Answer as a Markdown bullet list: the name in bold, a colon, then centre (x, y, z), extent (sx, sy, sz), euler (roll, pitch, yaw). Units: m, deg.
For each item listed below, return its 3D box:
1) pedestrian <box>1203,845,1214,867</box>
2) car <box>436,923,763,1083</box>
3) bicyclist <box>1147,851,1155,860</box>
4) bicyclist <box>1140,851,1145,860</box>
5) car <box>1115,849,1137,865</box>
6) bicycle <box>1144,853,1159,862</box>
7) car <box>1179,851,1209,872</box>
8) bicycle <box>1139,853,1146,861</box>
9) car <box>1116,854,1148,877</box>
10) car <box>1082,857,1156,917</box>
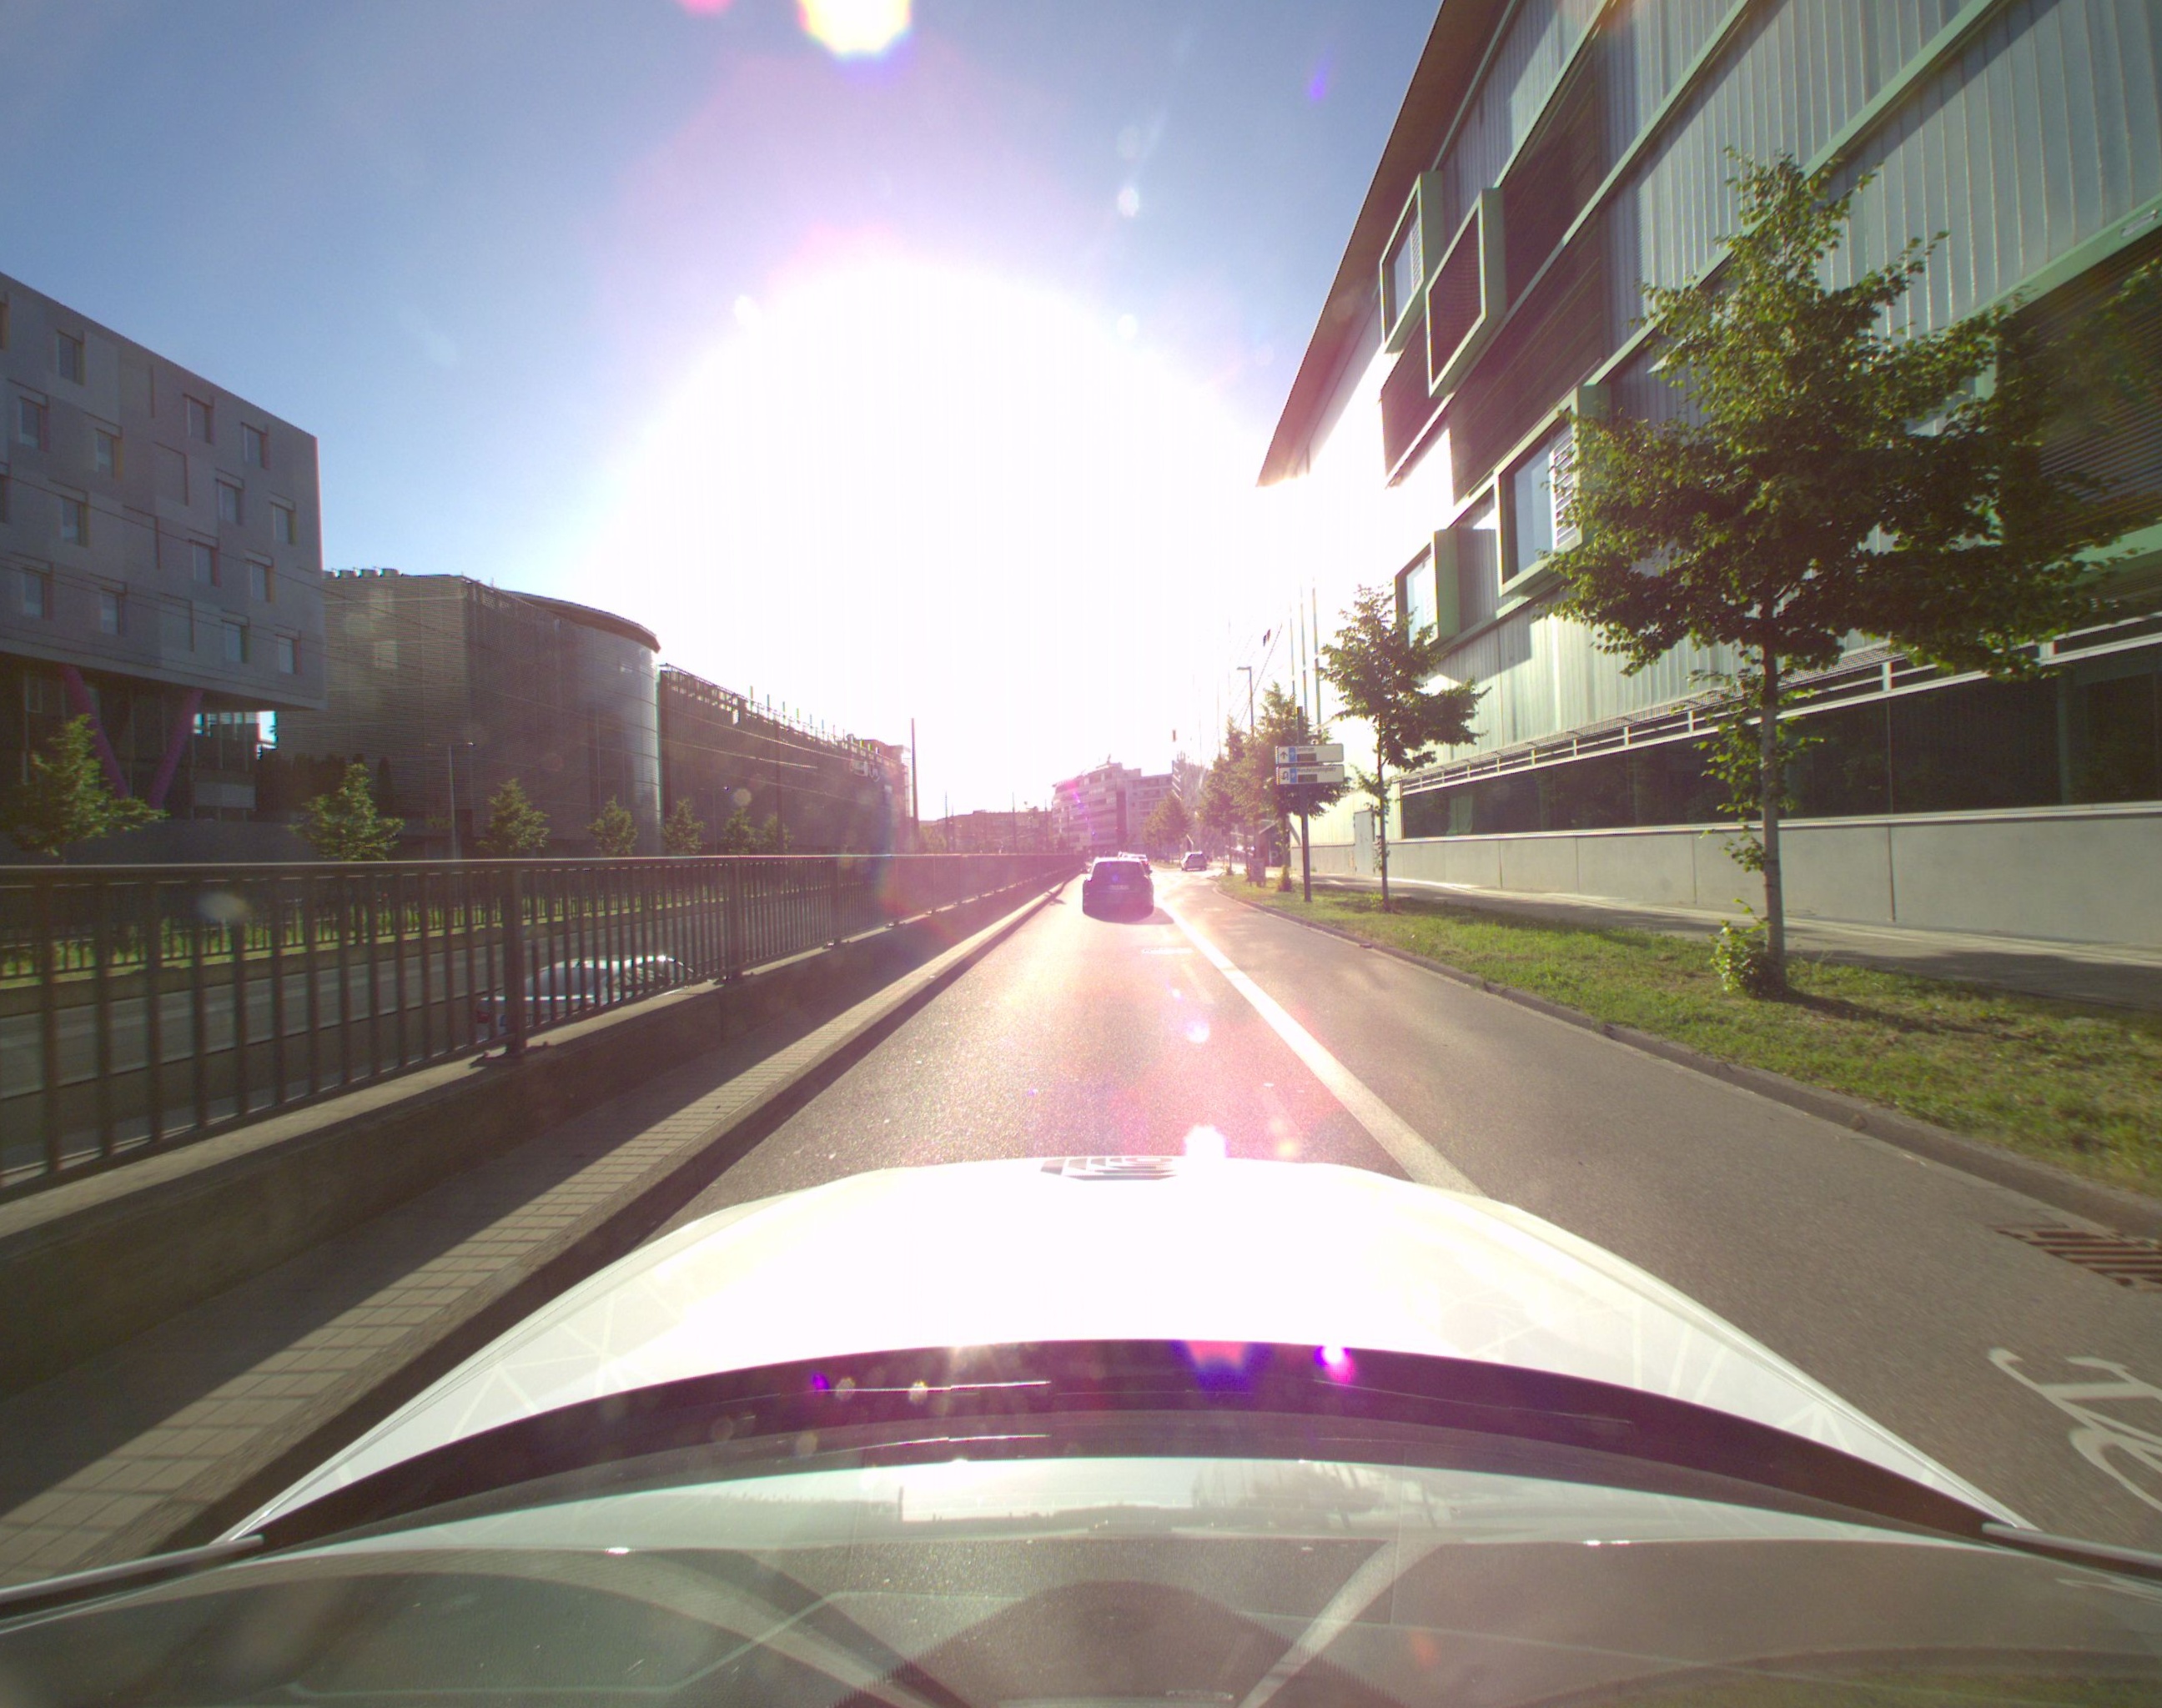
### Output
- **pedestrian**: centre (11.966, 0.174, 76.489), extent (0.833, 2.013, 0.690), euler (-3, 0, 2)
- **car**: centre (-6.885, 2.041, 12.459), extent (1.790, 1.527, 4.916), euler (0, 0, 4)
- **bicyclist**: centre (10.663, 0.283, 124.060), extent (1.023, 1.269, 0.731), euler (-4, 0, 24)
- **bicyclist**: centre (9.986, 0.213, 132.107), extent (0.723, 1.418, 0.890), euler (-3, 0, -5)
- **car**: centre (4.566, 0.286, 83.336), extent (1.987, 1.465, 3.999), euler (-1, 1, 0)
- **bicycle**: centre (10.754, 0.543, 124.056), extent (2.067, 1.184, 0.731), euler (-4, 0, 24)
- **car**: centre (9.065, 0.559, 65.698), extent (1.846, 1.481, 4.855), euler (-4, 0, 1)
- **bicycle**: centre (9.985, 0.447, 132.084), extent (0.723, 1.184, 2.090), euler (-3, 0, -5)
- **car**: centre (3.563, 0.777, 57.520), extent (1.847, 1.546, 3.998), euler (-1, 0, -1)
- **car**: centre (1.001, 0.839, 22.604), extent (1.806, 1.427, 4.691), euler (-2, 0, 1)
